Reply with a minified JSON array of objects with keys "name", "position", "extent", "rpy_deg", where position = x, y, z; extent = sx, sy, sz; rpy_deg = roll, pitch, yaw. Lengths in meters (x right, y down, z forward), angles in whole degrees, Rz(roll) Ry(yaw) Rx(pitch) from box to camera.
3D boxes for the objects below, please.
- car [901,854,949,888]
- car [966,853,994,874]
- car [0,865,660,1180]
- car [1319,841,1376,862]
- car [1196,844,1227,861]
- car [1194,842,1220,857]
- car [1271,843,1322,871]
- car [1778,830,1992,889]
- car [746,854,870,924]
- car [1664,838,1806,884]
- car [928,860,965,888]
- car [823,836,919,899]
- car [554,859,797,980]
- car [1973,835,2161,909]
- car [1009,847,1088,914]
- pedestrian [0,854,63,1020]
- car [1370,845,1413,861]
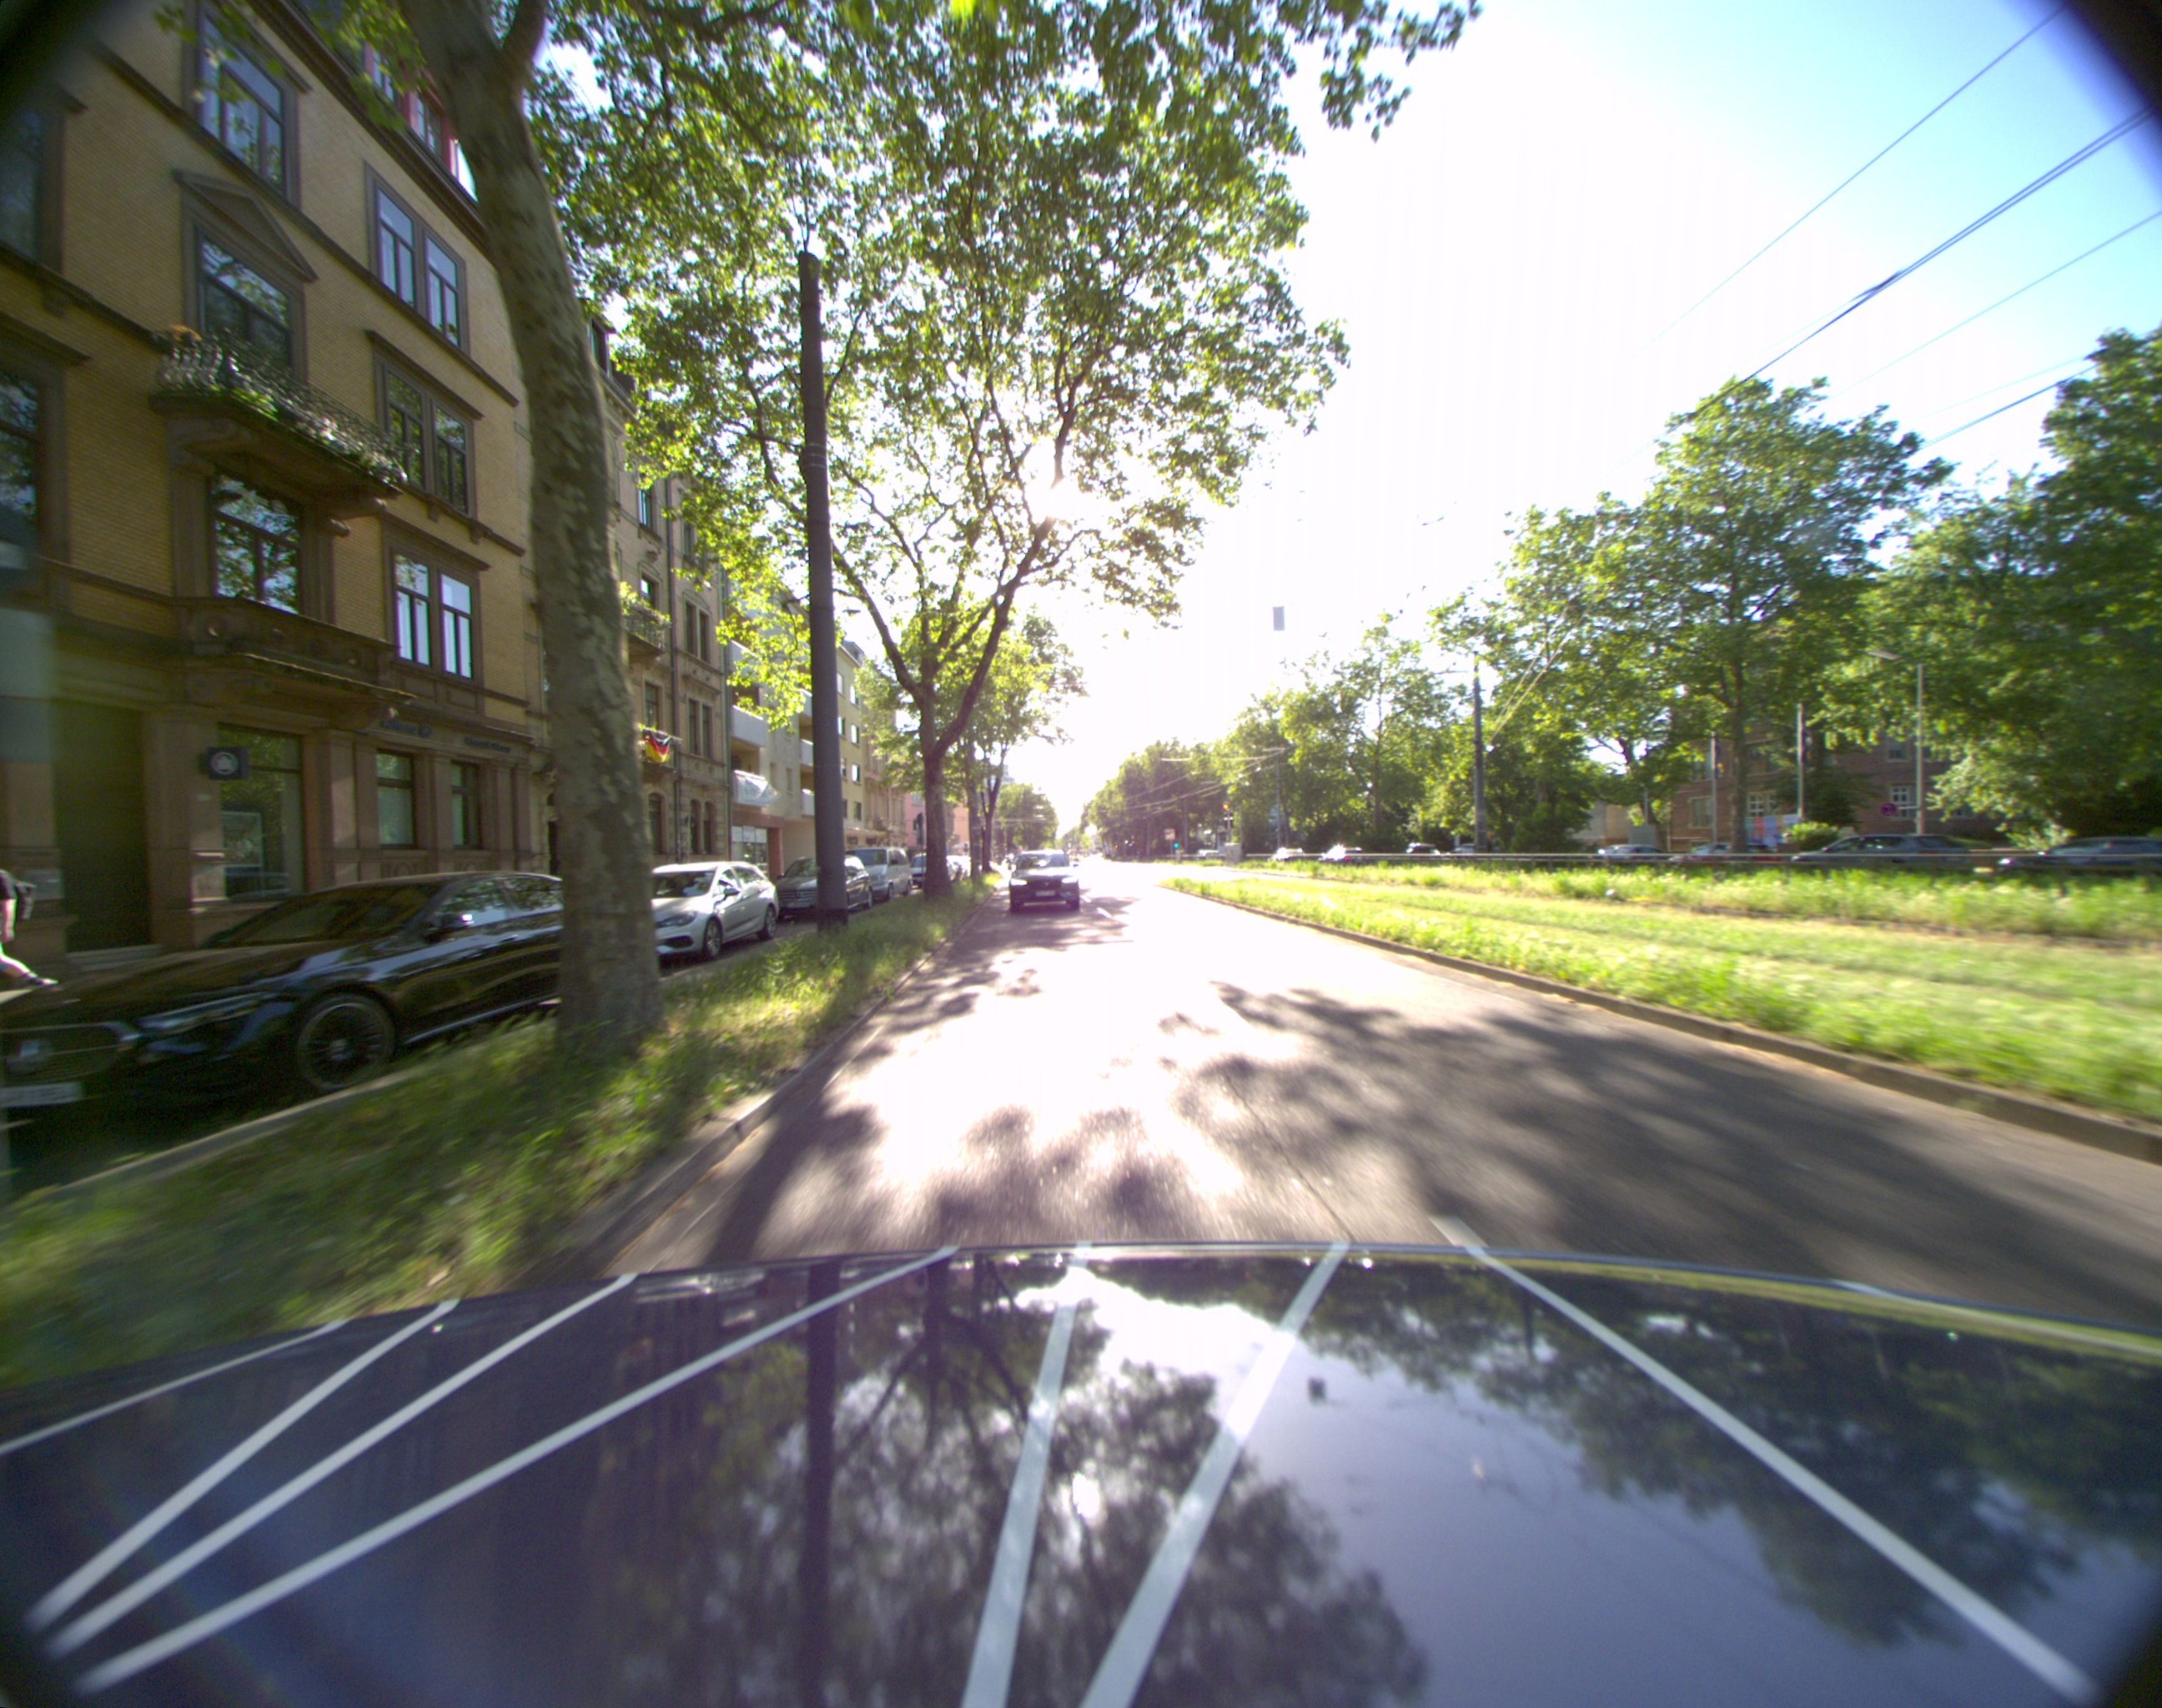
[{"name":"car","position":[-7.702,0.810,37.862],"extent":[1.565,1.477,3.786],"rpy_deg":[-4,0,-1]},{"name":"car","position":[-7.451,0.672,56.392],"extent":[1.593,1.426,3.904],"rpy_deg":[-4,0,-3]},{"name":"car","position":[-5.859,0.959,6.461],"extent":[1.811,1.481,4.918],"rpy_deg":[-4,1,-1]},{"name":"car","position":[16.210,-0.148,46.537],"extent":[1.694,1.128,4.705],"rpy_deg":[-4,0,-1]},{"name":"car","position":[12.243,-0.132,71.348],"extent":[1.850,1.521,3.873],"rpy_deg":[-4,0,-5]},{"name":"car","position":[14.894,-0.556,89.913],"extent":[1.891,1.610,4.596],"rpy_deg":[-4,0,-4]},{"name":"car","position":[13.451,0.169,47.651],"extent":[1.798,1.543,4.046],"rpy_deg":[-4,0,-2]},{"name":"car","position":[26.164,0.171,24.999],"extent":[1.999,1.674,4.512],"rpy_deg":[-4,0,-5]},{"name":"car","position":[-6.929,0.804,19.764],"extent":[1.709,1.493,4.356],"rpy_deg":[-4,0,-2]},{"name":"car","position":[25.966,0.268,30.377],"extent":[1.999,1.612,3.998],"rpy_deg":[-4,0,-5]},{"name":"car","position":[-7.694,1.109,43.701],"extent":[1.630,1.468,3.696],"rpy_deg":[-4,0,-5]},{"name":"car","position":[-6.874,0.413,25.423],"extent":[1.870,1.805,4.798],"rpy_deg":[-4,0,-2]},{"name":"car","position":[-6.377,0.900,12.658],"extent":[1.682,1.458,4.667],"rpy_deg":[-4,1,-3]},{"name":"car","position":[26.230,0.413,19.496],"extent":[1.826,1.674,3.998],"rpy_deg":[-4,0,-4]},{"name":"car","position":[-0.962,0.698,21.960],"extent":[1.969,1.664,3.999],"rpy_deg":[-4,0,-3]},{"name":"pedestrian","position":[-12.458,0.929,8.520],"extent":[1.002,1.829,0.715],"rpy_deg":[-2,1,-1]},{"name":"car","position":[24.039,-0.092,58.935],"extent":[1.625,1.214,3.762],"rpy_deg":[-2,0,-2]}]
